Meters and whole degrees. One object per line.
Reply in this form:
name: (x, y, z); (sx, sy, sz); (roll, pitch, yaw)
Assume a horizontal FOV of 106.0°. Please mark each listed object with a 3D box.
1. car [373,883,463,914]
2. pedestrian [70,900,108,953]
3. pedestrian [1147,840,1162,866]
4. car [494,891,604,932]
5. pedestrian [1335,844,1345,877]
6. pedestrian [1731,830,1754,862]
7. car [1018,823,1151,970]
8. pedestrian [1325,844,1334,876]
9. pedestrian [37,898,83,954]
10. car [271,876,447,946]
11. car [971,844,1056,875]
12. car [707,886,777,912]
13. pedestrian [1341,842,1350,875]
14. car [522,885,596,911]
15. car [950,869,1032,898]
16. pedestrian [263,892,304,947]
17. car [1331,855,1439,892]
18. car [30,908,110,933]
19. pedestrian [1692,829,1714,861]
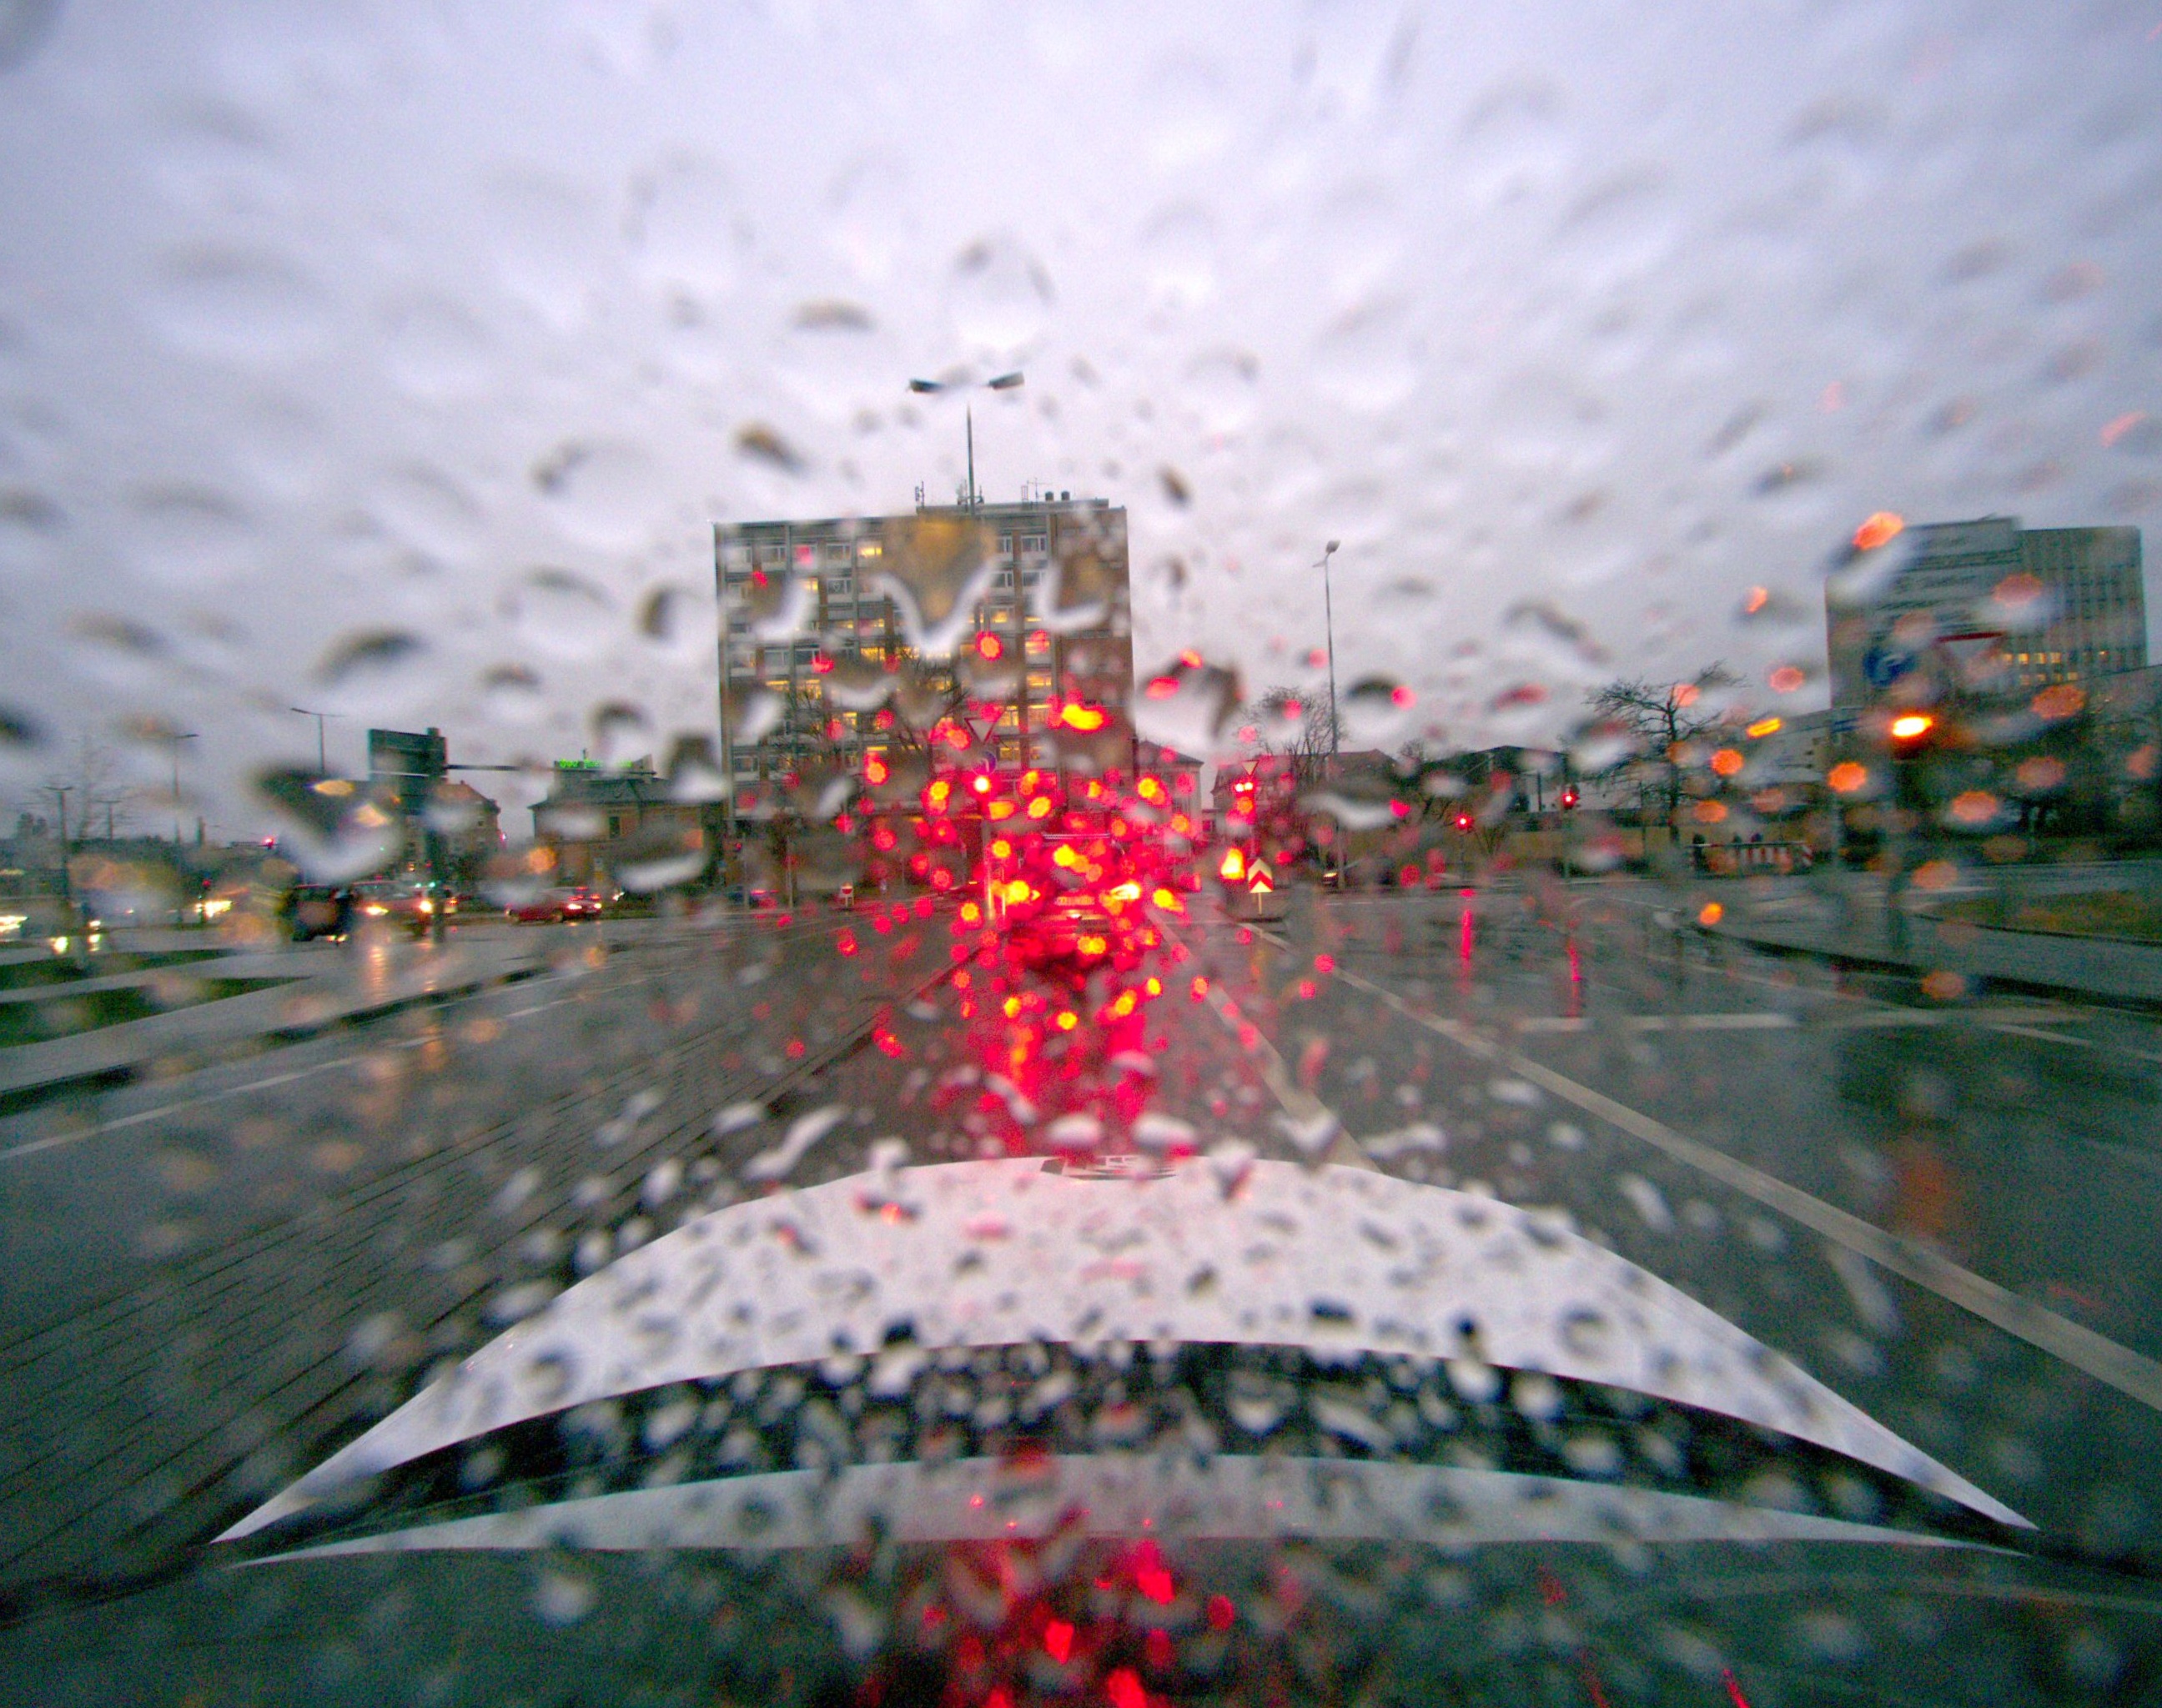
car: (-43.643, 2.932, 53.617); (5.114, 1.913, 2.008); (-1, -1, 17)
pedestrian: (-33.729, 2.465, 27.693); (0.605, 1.772, 0.587); (-1, -2, 15)
pedestrian: (4.881, -0.054, 54.165); (0.688, 1.661, 0.670); (1, -3, -32)
car: (-23.366, 2.509, 35.801); (4.040, 1.684, 1.766); (-1, -2, 14)
pedestrian: (14.664, 0.389, 46.071); (0.454, 1.839, 0.441); (-2, -2, 19)
pedestrian: (36.590, -0.416, 45.035); (0.620, 1.725, 0.762); (-1, -2, 8)
car: (0.095, 0.529, 12.206); (1.641, 1.819, 4.001); (-1, 0, 2)
pedestrian: (14.431, 0.332, 47.349); (0.434, 1.839, 0.462); (-2, -2, 19)
pedestrian: (-33.989, 2.369, 27.107); (0.687, 1.815, 0.683); (-1, -2, 15)
car: (-25.012, 1.934, 28.257); (4.981, 2.282, 2.268); (-1, -2, 18)
car: (-4.601, 0.415, 56.024); (5.517, 2.024, 2.004); (-1, -2, 7)
car: (-18.809, 2.487, 45.148); (3.384, 1.398, 1.475); (-1, -3, 16)
pedestrian: (15.225, 0.265, 46.896); (0.434, 1.839, 0.462); (-2, -2, 20)
car: (-30.947, 2.597, 48.263); (3.885, 1.486, 1.475); (-1, -2, 17)
car: (-4.544, 1.498, 41.139); (3.763, 1.398, 1.570); (-1, -2, 13)
pedestrian: (-25.449, 2.072, 25.987); (0.456, 1.697, 0.801); (-2, -2, 25)
car: (13.821, 0.892, 37.302); (4.401, 1.580, 1.975); (-1, -2, 14)
car: (-61.592, 4.027, 49.626); (3.611, 1.447, 1.610); (-1, -2, 13)
pedestrian: (34.339, -0.483, 44.960); (0.620, 1.725, 0.762); (-1, -2, 8)
